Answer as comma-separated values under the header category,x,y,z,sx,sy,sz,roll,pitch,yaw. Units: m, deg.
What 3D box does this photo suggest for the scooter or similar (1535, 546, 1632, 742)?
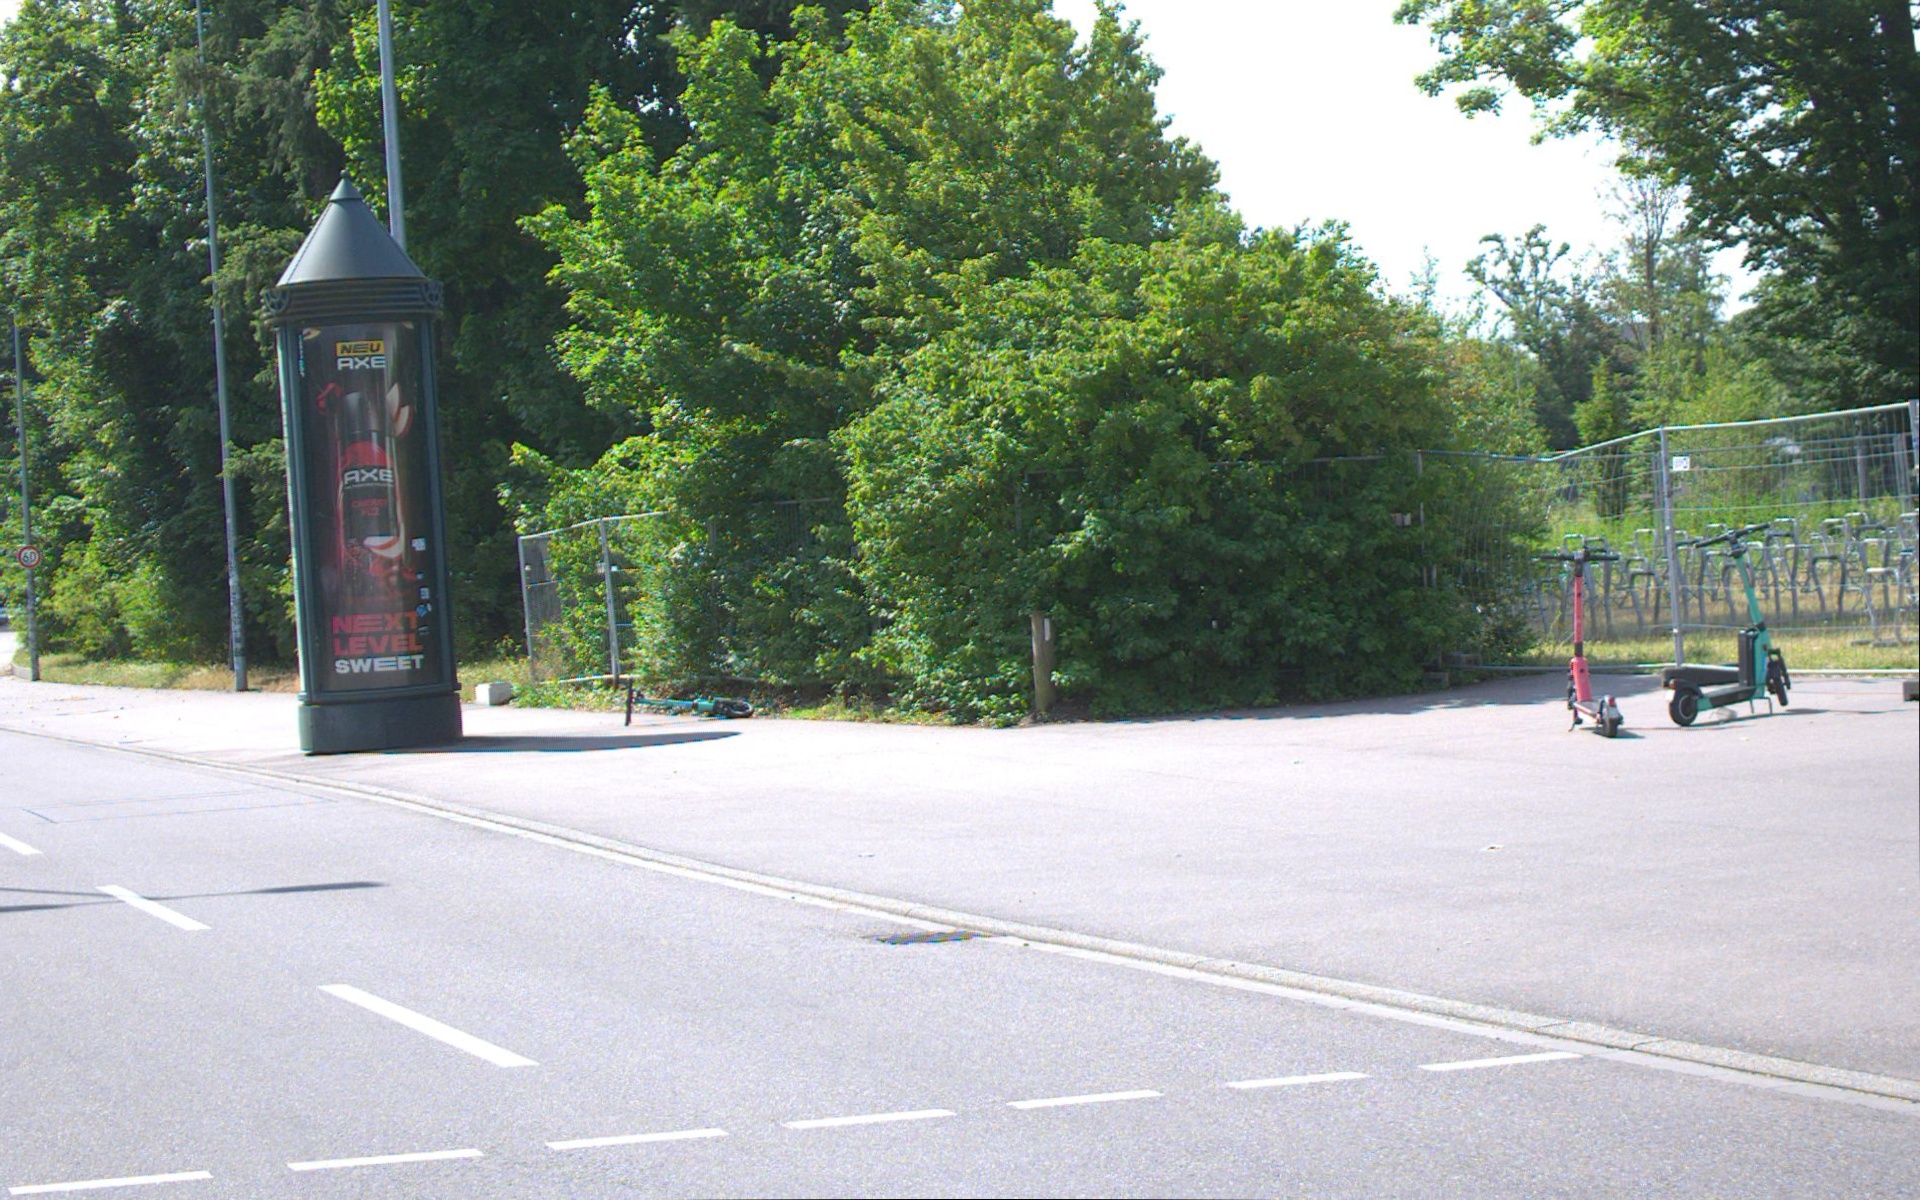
category,x,y,z,sx,sy,sz,roll,pitch,yaw
scooter or similar,4.047,0.267,22.354,0.406,1.196,1.311,-4,1,5

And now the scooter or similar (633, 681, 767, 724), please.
category,x,y,z,sx,sy,sz,roll,pitch,yaw
scooter or similar,-2.572,1.008,33.906,0.853,0.387,1.474,2,-1,-24

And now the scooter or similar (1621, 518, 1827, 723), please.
category,x,y,z,sx,sy,sz,roll,pitch,yaw
scooter or similar,5.065,0.128,22.769,1.307,1.247,0.407,-5,1,-30
